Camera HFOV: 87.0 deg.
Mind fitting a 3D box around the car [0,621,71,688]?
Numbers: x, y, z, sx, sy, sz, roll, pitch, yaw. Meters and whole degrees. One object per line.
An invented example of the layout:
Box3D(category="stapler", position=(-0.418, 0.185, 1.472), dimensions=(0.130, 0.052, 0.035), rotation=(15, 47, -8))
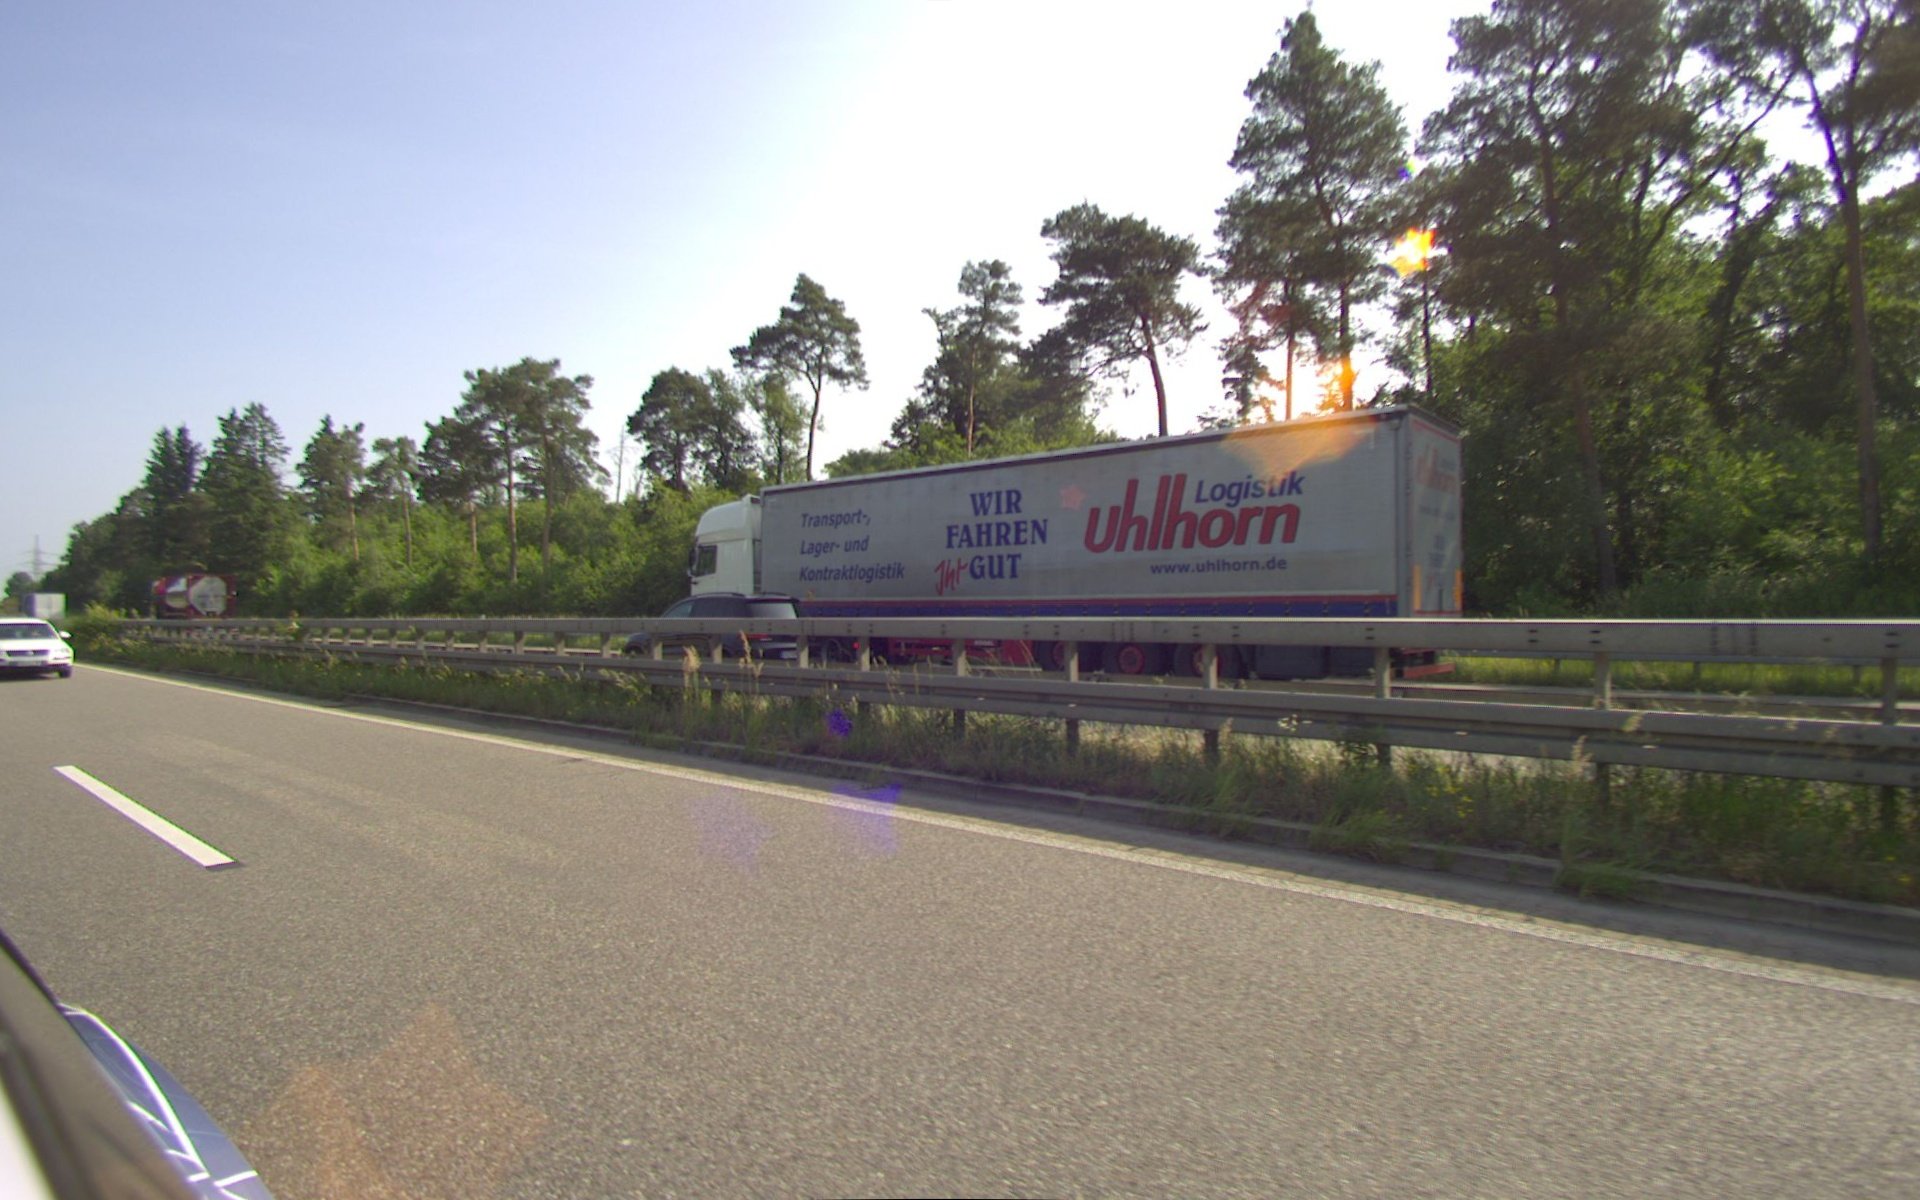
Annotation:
Box3D(category="car", position=(-23.393, 1.282, 24.875), dimensions=(5.262, 1.497, 1.731), rotation=(-1, -1, 42))

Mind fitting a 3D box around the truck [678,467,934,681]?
Box3D(category="truck", position=(-3.567, -0.454, 22.864), dimensions=(5.543, 4.228, 2.808), rotation=(-1, -2, 41))

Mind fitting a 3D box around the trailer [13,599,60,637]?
Box3D(category="trailer", position=(-105.674, 2.094, 115.684), dimensions=(13.076, 4.232, 2.663), rotation=(-1, -2, 42))

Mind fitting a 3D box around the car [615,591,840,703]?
Box3D(category="car", position=(-4.073, 0.751, 17.384), dimensions=(4.166, 1.701, 1.668), rotation=(-1, -1, 42))

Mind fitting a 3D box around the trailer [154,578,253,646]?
Box3D(category="trailer", position=(-47.705, 0.734, 63.701), dimensions=(8.368, 4.070, 3.261), rotation=(-1, 0, 41))

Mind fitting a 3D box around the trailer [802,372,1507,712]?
Box3D(category="trailer", position=(2.360, -0.609, 17.743), dimensions=(12.403, 4.241, 2.803), rotation=(-1, -2, 41))

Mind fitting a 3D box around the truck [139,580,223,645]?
Box3D(category="truck", position=(-51.683, 0.793, 67.134), dimensions=(6.229, 4.069, 3.233), rotation=(-1, 0, 41))
